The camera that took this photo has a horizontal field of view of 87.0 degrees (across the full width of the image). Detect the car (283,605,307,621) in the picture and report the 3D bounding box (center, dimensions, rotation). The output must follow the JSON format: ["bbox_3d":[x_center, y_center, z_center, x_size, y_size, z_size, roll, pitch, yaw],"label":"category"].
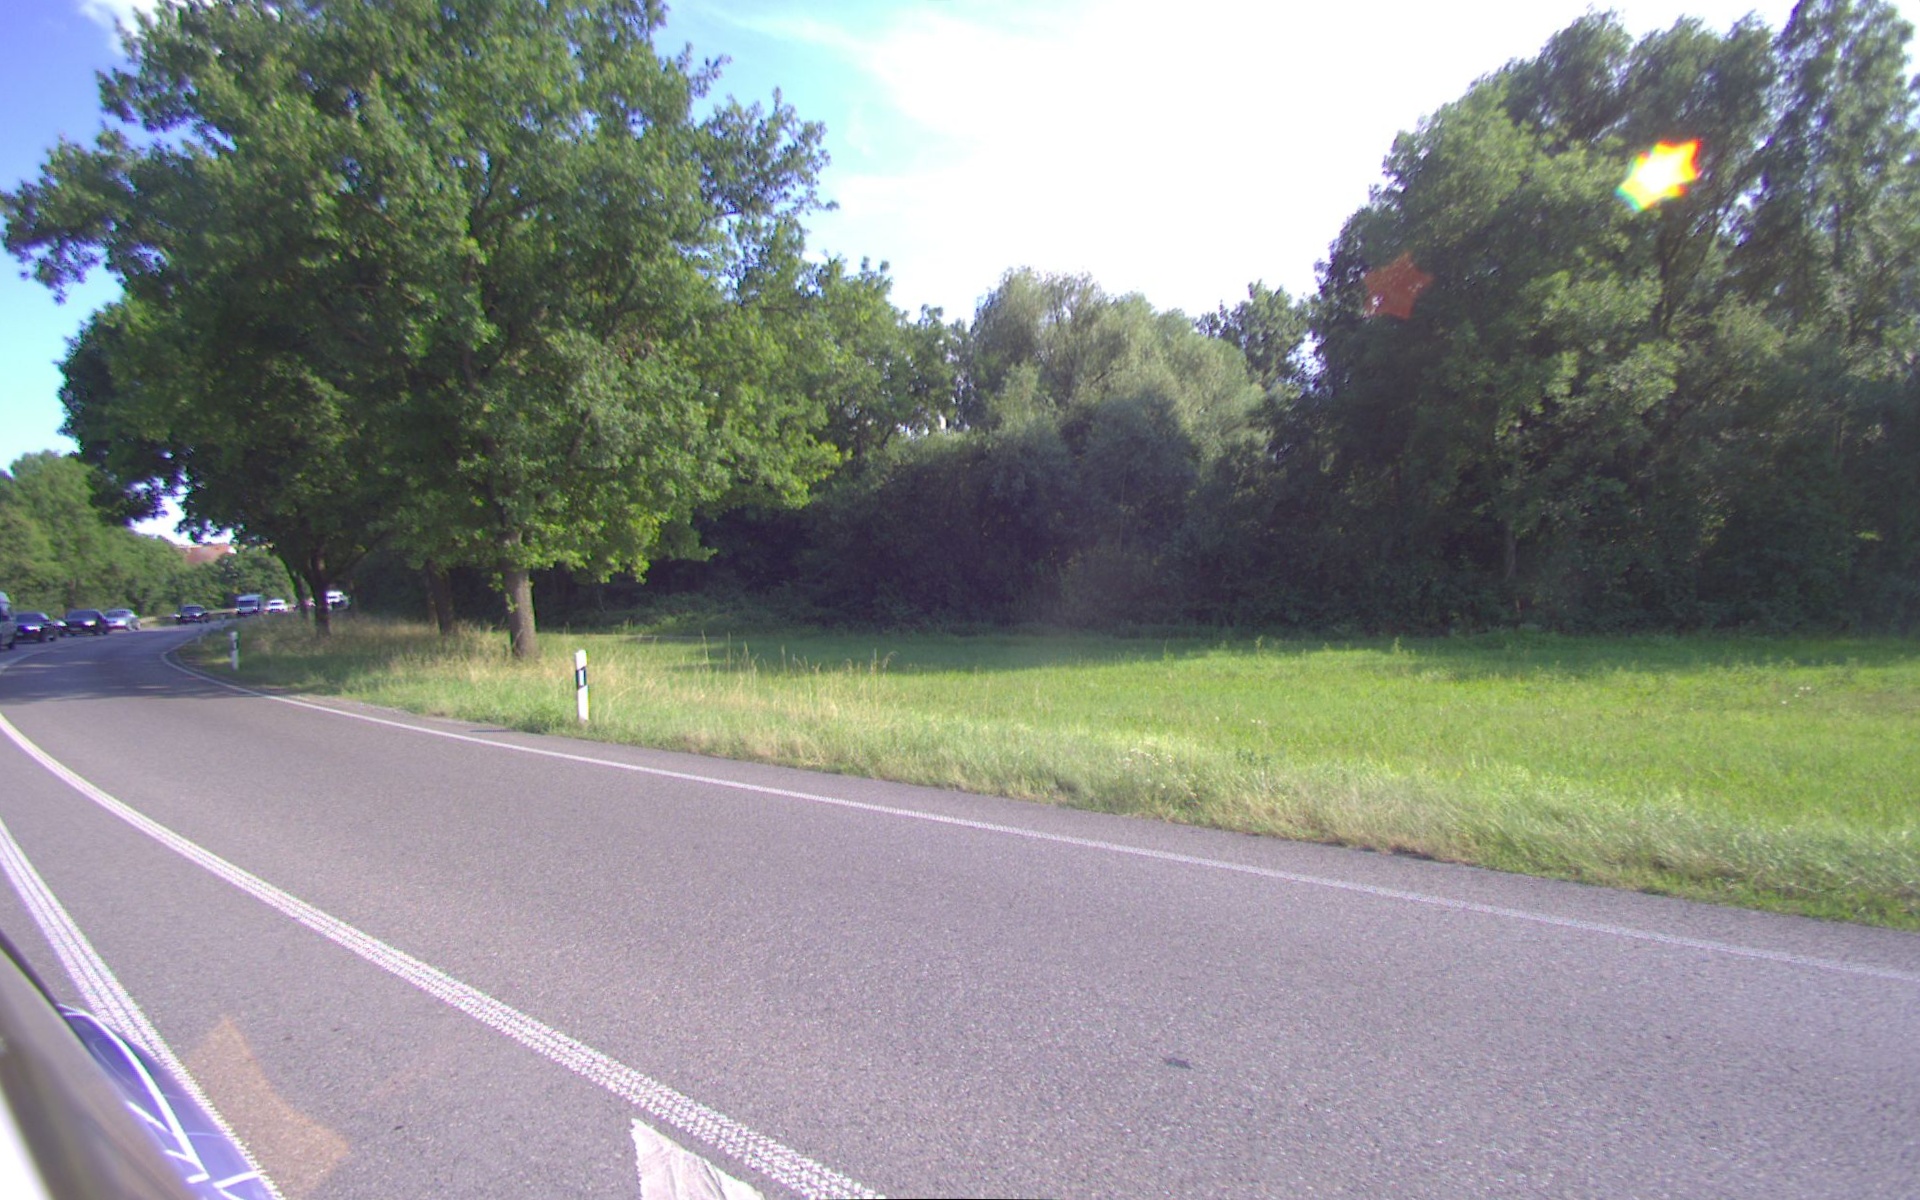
[{"bbox_3d":[-102.148,1.958,155.511,2.054,2.435,5.159,-1,1,-23],"label":"car"}]

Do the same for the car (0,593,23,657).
[{"bbox_3d":[-37.554,0.971,38.322,2.054,2.435,5.157,-1,1,-32],"label":"car"}]

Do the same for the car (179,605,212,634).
[{"bbox_3d":[-67.236,1.688,89.069,2.055,2.435,5.155,-1,1,-34],"label":"car"}]

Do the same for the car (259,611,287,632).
[{"bbox_3d":[-89.641,2.777,132.040,2.054,2.435,5.159,-1,1,-23],"label":"car"}]

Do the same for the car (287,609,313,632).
[{"bbox_3d":[-74.756,2.257,114.694,2.054,2.435,5.158,-1,1,-30],"label":"car"}]

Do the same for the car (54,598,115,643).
[{"bbox_3d":[-50.308,1.108,58.254,2.055,2.435,5.155,-1,1,-34],"label":"car"}]

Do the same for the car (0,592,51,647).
[{"bbox_3d":[-44.357,0.886,47.349,2.055,2.435,5.155,-1,1,-34],"label":"car"}]

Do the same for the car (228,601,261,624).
[{"bbox_3d":[-82.030,1.408,116.066,2.054,2.435,5.159,-1,1,-23],"label":"car"}]

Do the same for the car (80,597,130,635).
[{"bbox_3d":[-57.469,1.033,68.107,2.055,2.435,5.155,-1,1,-34],"label":"car"}]
